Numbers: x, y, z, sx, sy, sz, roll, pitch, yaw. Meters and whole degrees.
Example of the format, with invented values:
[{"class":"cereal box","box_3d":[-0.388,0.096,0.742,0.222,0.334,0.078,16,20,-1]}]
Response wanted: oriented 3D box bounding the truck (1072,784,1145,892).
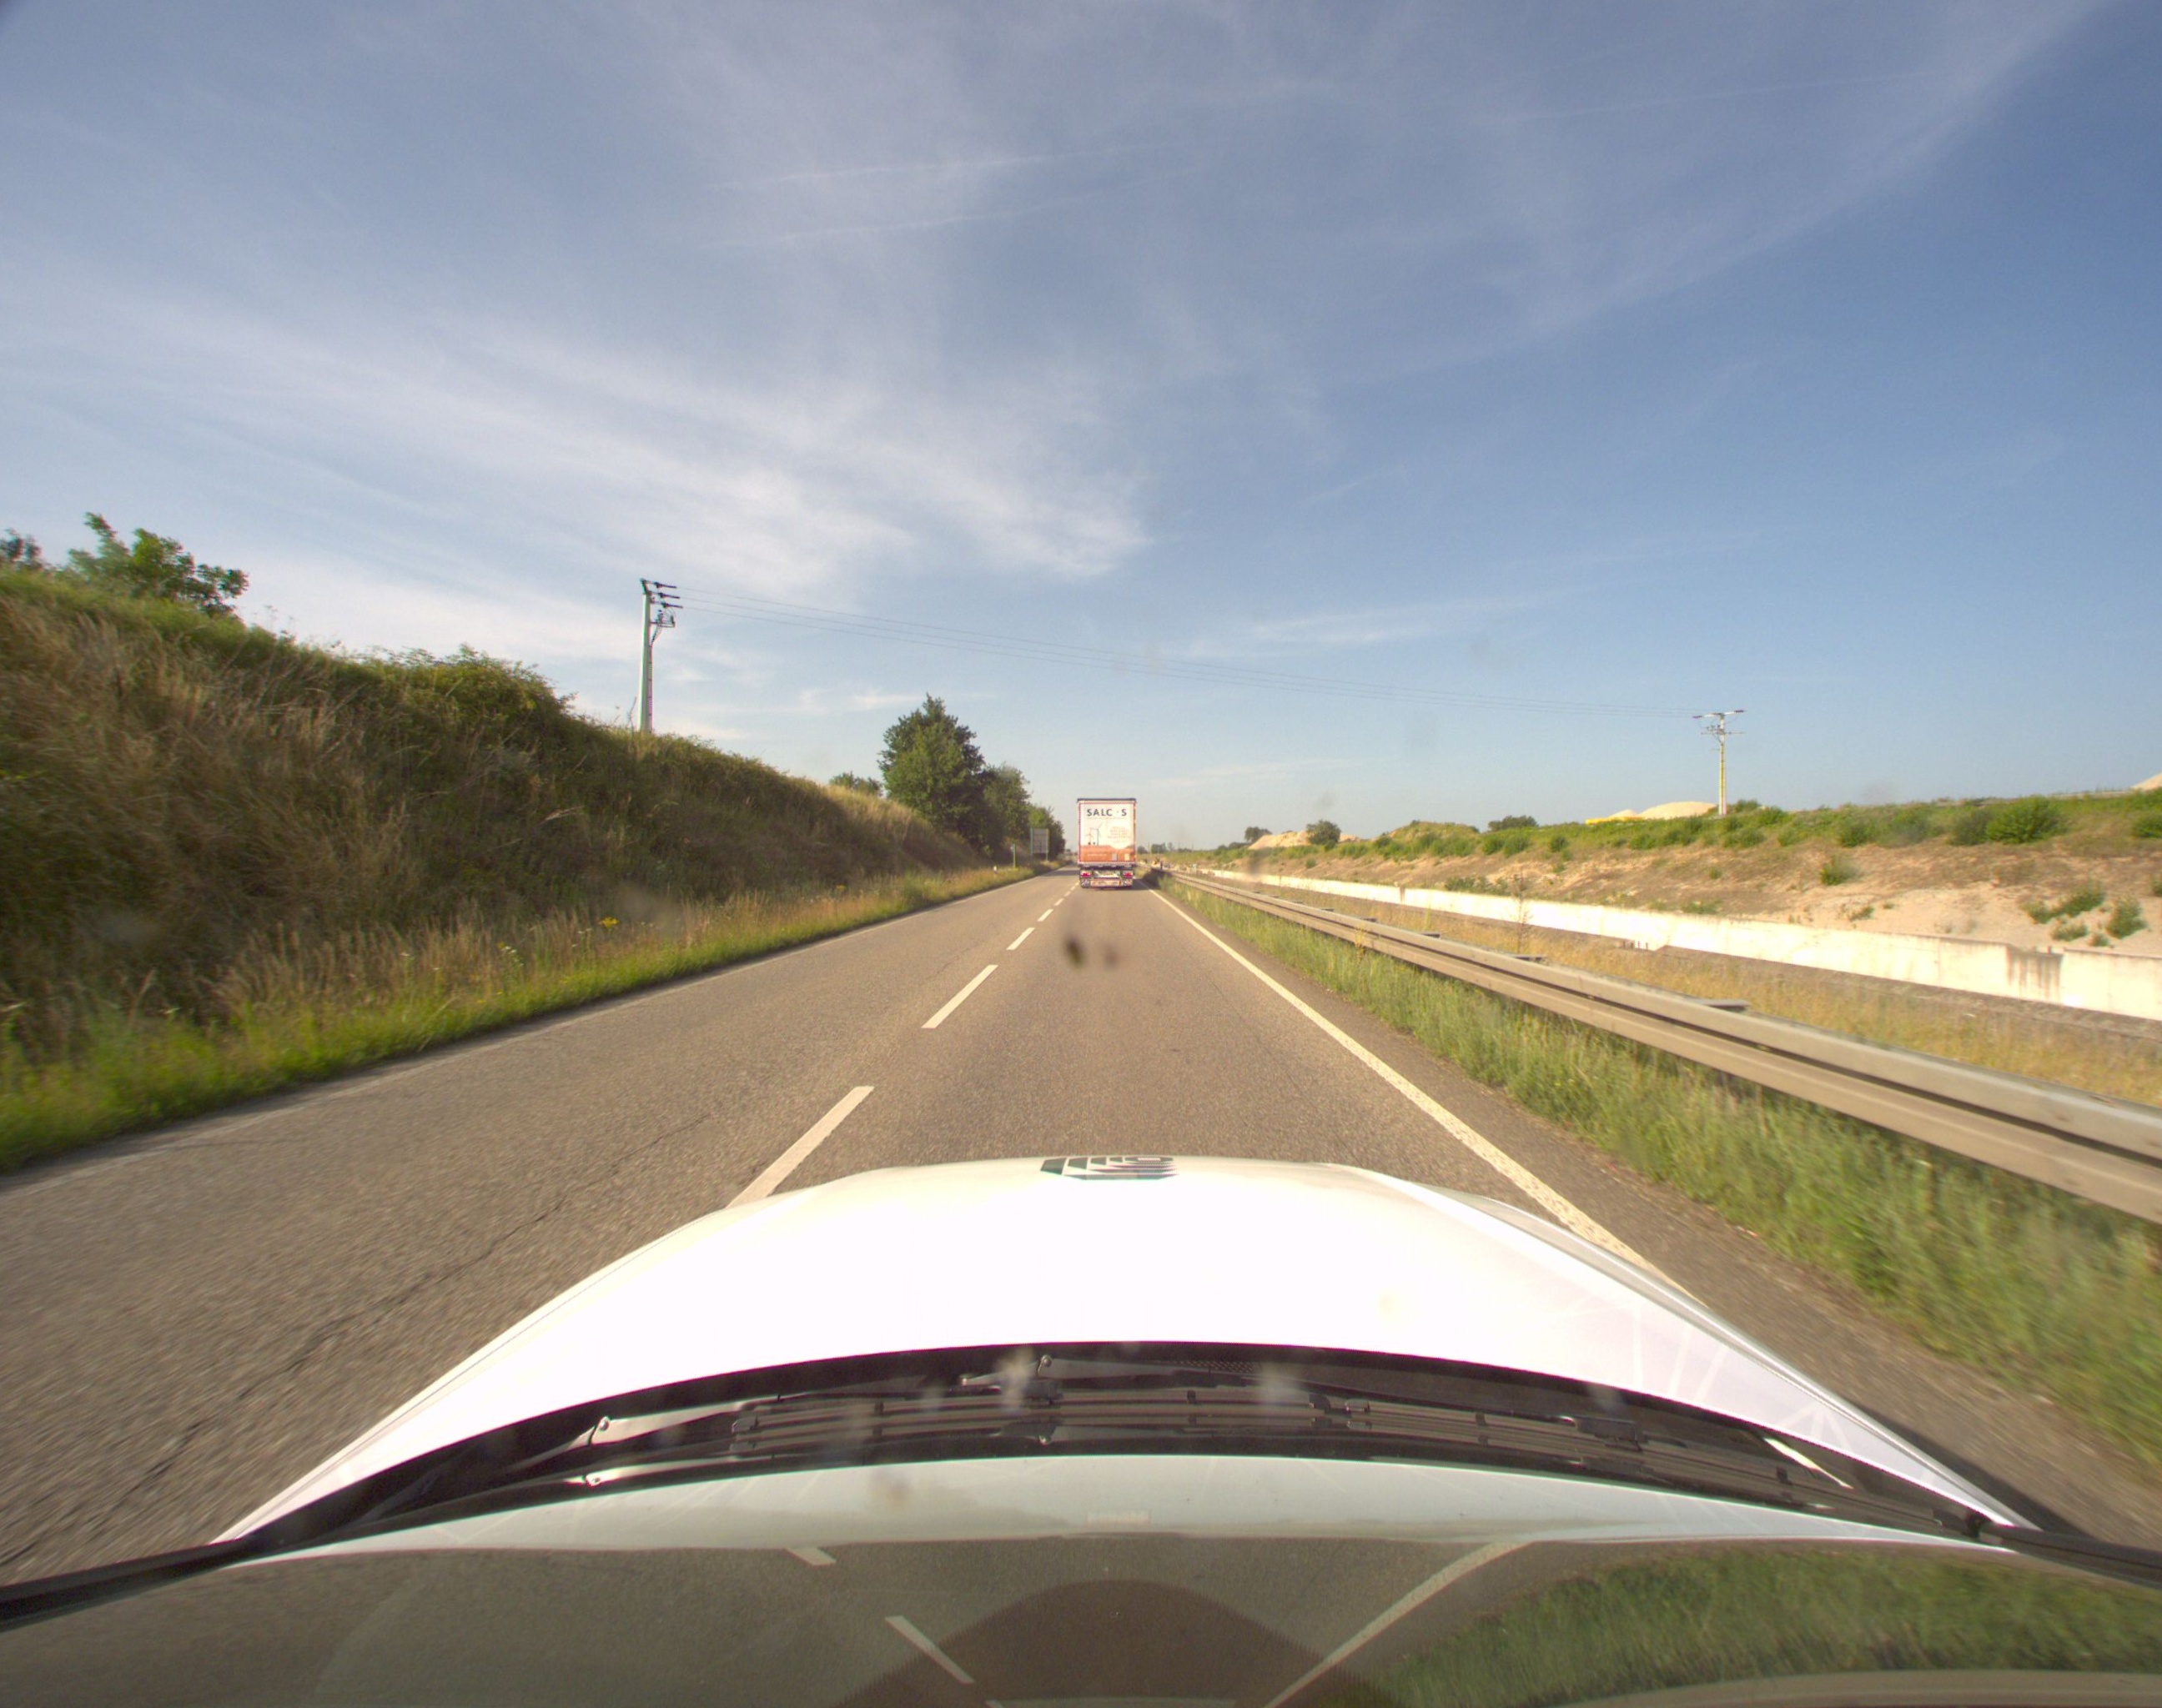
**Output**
[{"class":"truck","box_3d":[1.219,-0.682,39.966,3.143,4.688,8.440,-1,0,0]}]
